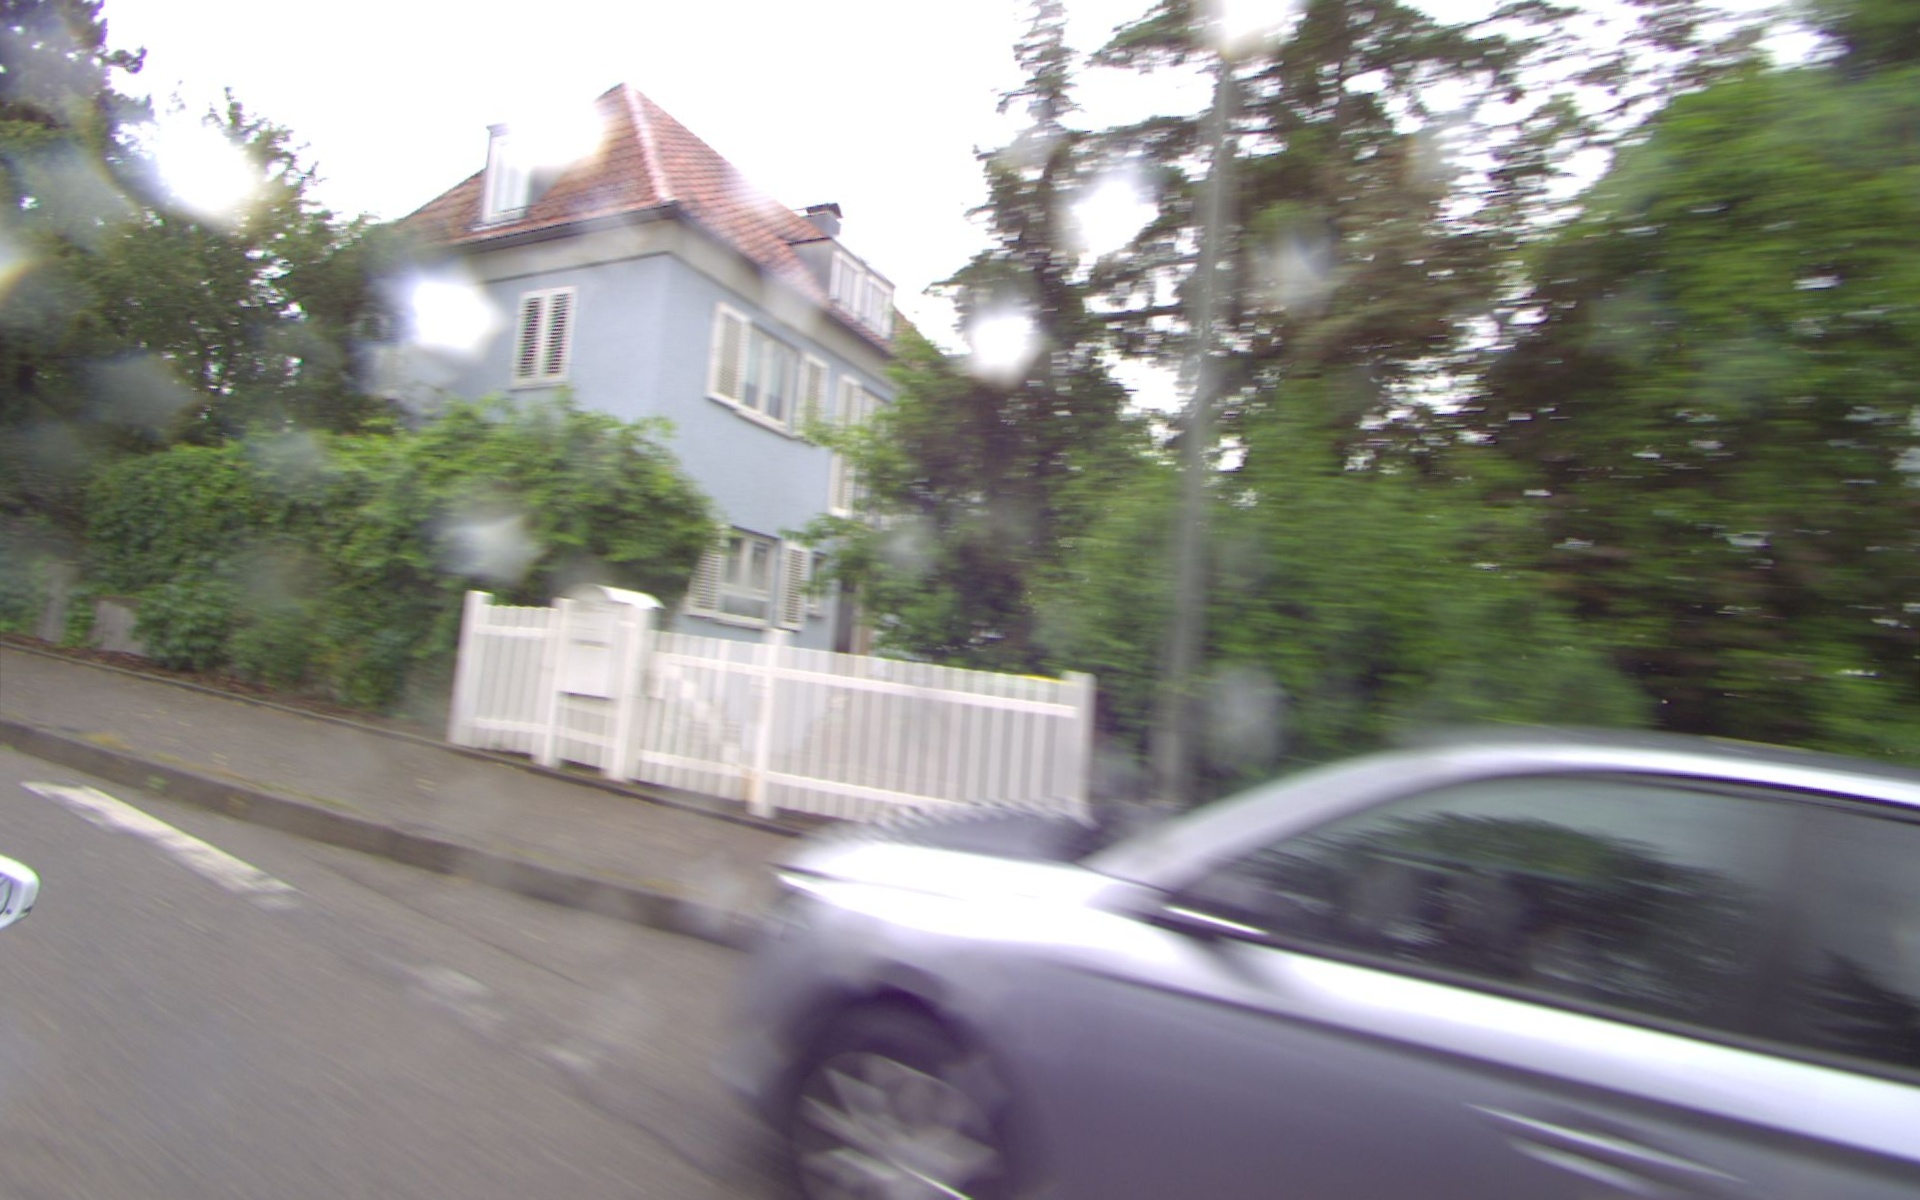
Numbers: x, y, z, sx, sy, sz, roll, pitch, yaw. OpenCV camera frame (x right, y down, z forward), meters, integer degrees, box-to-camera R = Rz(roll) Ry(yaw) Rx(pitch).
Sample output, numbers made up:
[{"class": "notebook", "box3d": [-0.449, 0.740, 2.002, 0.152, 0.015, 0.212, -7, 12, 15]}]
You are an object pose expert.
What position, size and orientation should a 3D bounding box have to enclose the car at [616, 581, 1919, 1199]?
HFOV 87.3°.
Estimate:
[{"class": "car", "box3d": [1.341, 0.971, 2.298, 3.989, 1.473, 1.690, 7, -2, 30]}]
